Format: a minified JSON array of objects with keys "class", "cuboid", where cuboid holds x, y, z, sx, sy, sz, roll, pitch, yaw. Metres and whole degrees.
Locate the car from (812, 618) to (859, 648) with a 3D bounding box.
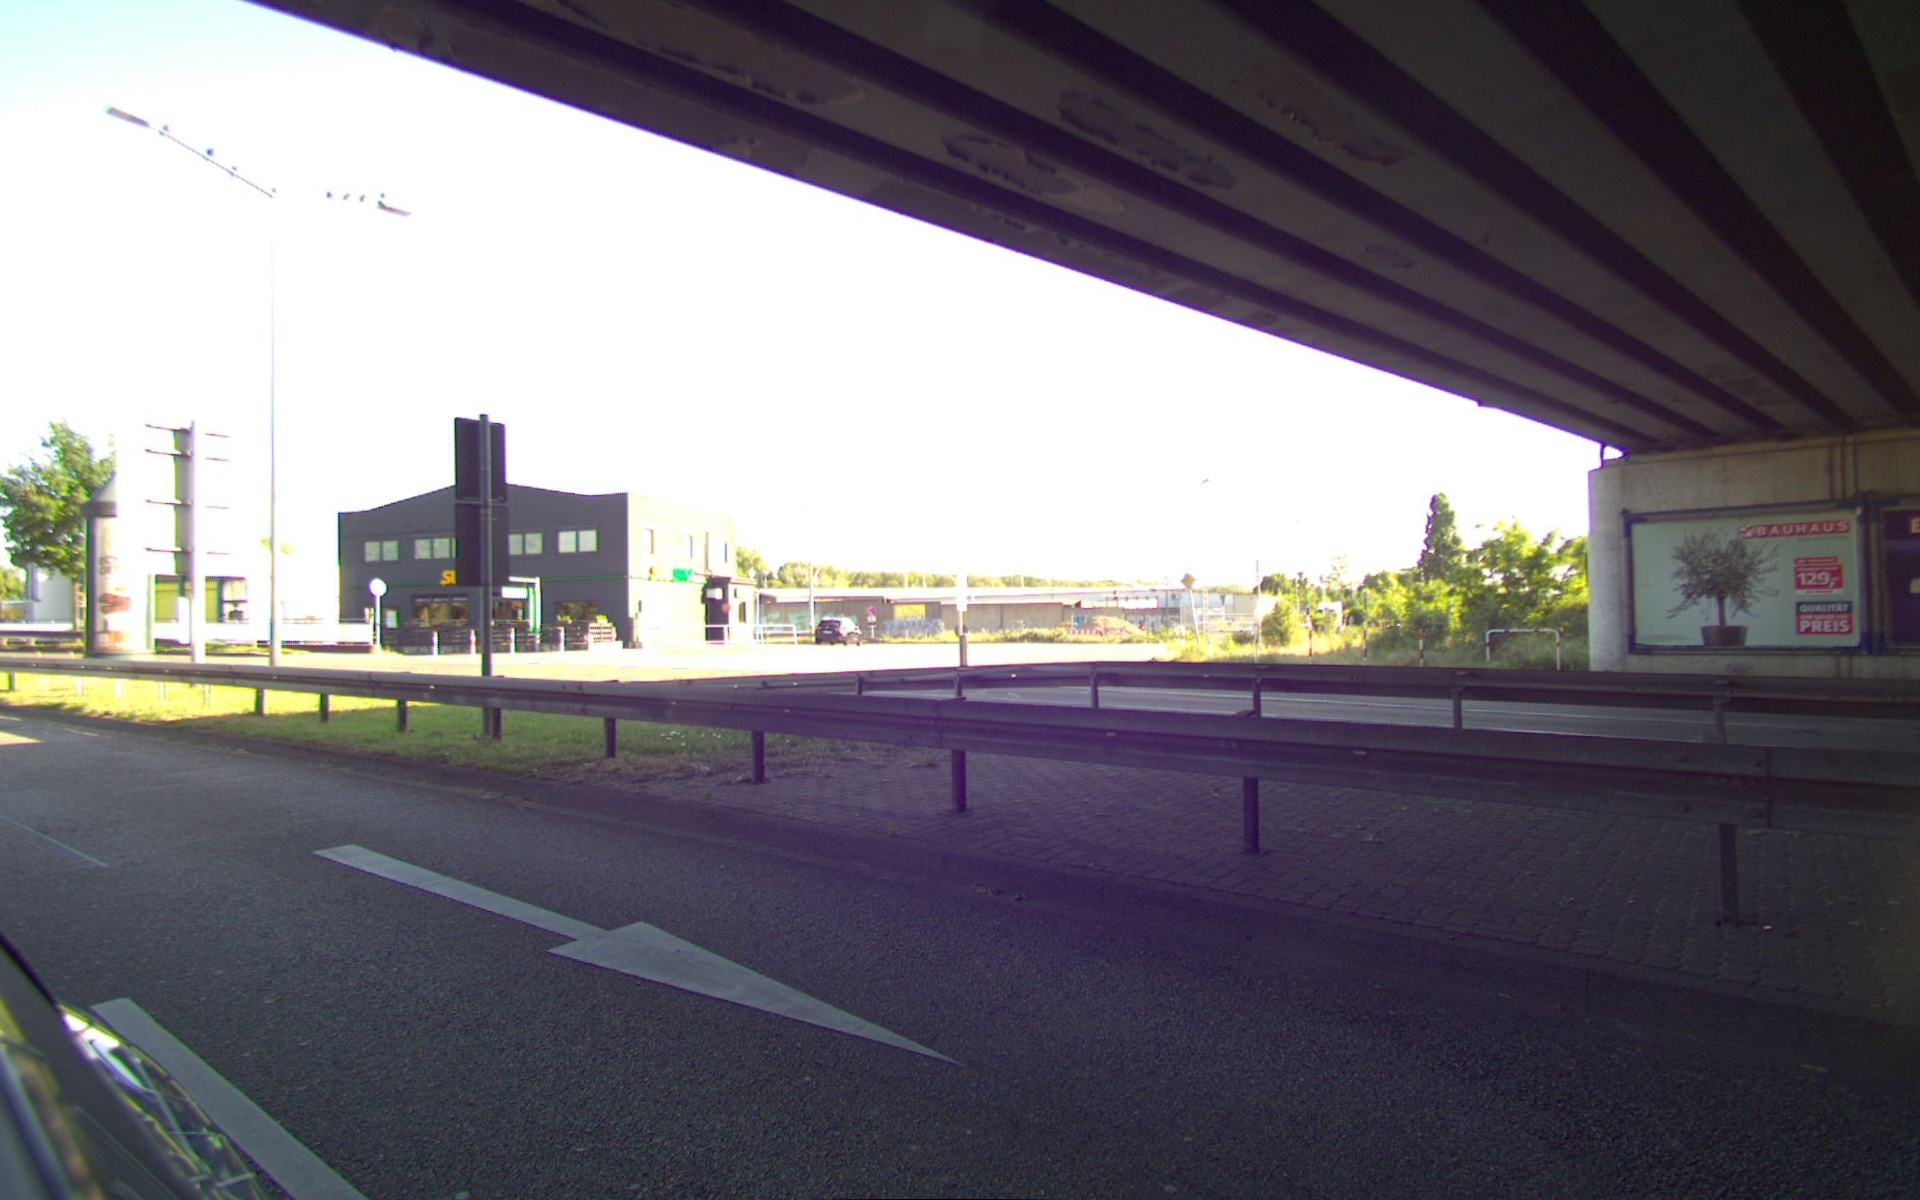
[{"class":"car","cuboid":[-6.721,1.777,55.023,1.858,1.453,3.996,-1,0,3]}]
